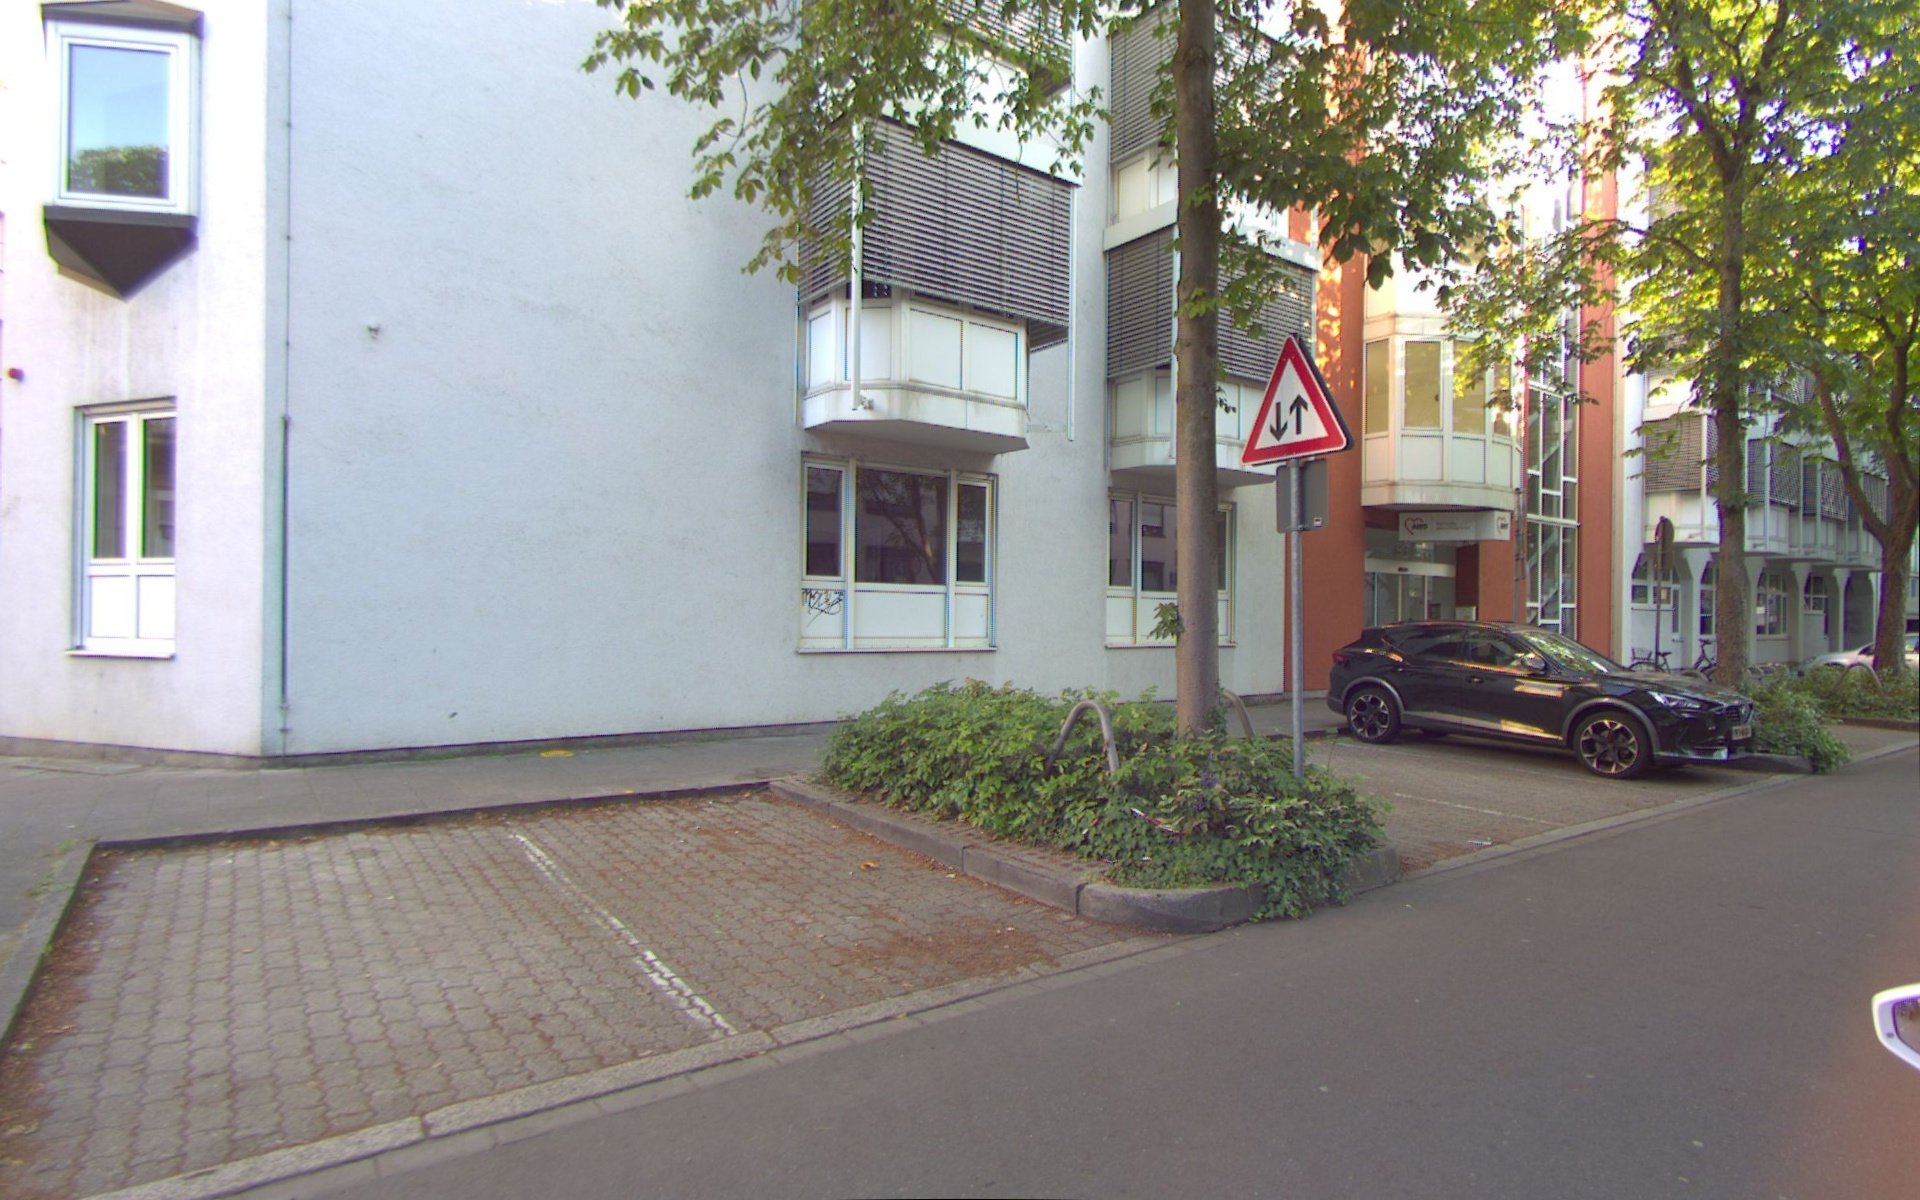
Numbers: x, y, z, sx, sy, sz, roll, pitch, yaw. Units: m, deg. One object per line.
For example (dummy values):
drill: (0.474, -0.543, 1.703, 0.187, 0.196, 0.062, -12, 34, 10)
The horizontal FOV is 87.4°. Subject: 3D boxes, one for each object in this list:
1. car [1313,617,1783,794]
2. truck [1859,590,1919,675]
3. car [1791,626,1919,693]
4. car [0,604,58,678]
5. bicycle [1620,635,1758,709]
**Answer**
car: (6.505, 1.020, 11.607, 1.817, 1.529, 4.326, 1, 0, -36)
truck: (29.603, 0.968, 29.132, 1.896, 2.474, 4.967, 0, 1, -34)
car: (22.898, 1.442, 24.246, 1.624, 1.491, 4.104, 1, 0, -36)
car: (-20.503, 0.835, 20.198, 1.666, 1.534, 4.272, 0, -1, -14)
bicycle: (12.944, 1.249, 17.886, 1.949, 1.215, 0.499, 0, -1, 44)
